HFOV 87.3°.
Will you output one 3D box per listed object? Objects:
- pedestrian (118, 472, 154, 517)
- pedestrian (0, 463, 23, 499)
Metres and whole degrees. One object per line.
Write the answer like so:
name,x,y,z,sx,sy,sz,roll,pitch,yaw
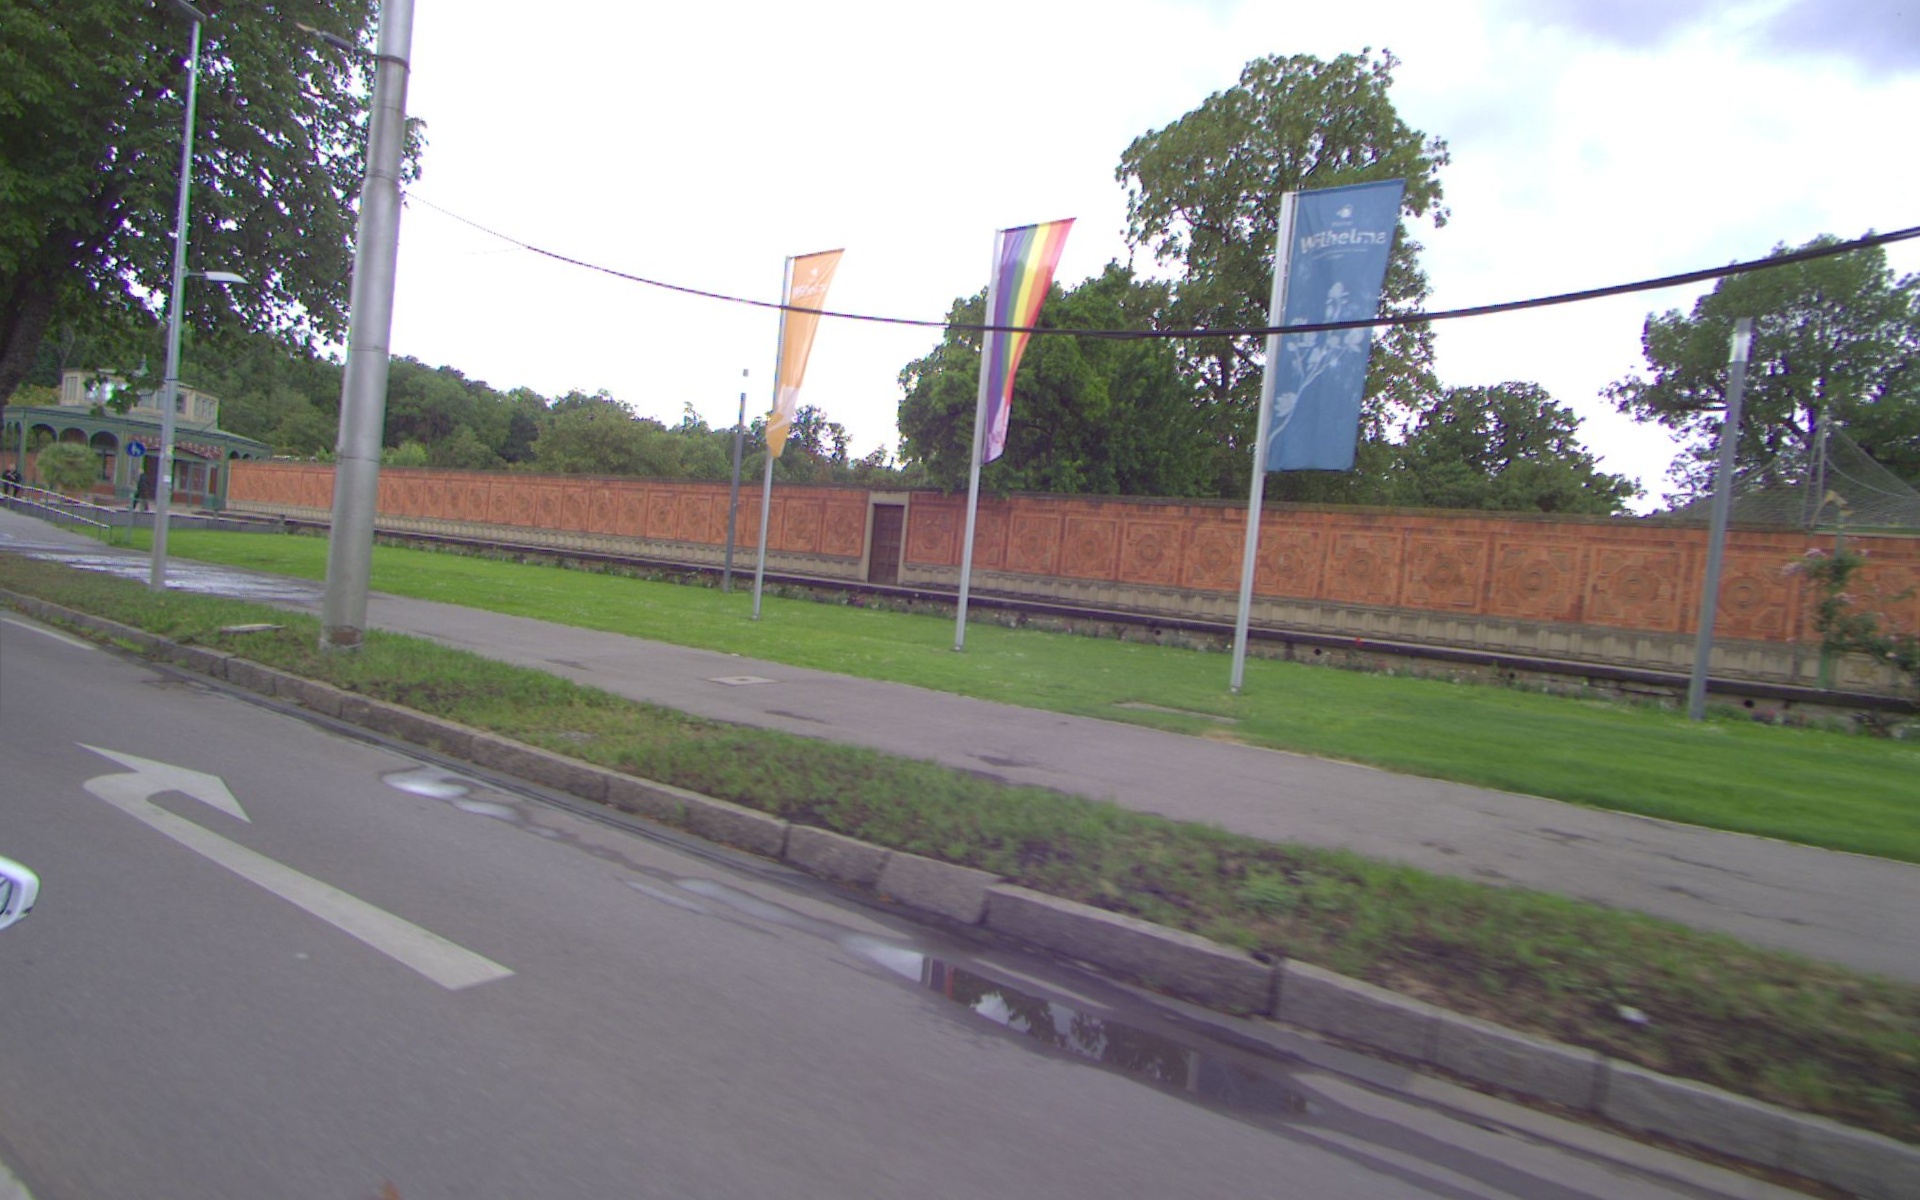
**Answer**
pedestrian,-37.561,-4.790,45.870,0.937,1.860,0.548,7,0,-14
pedestrian,-34.889,-4.374,36.832,0.657,1.216,0.549,7,0,27
